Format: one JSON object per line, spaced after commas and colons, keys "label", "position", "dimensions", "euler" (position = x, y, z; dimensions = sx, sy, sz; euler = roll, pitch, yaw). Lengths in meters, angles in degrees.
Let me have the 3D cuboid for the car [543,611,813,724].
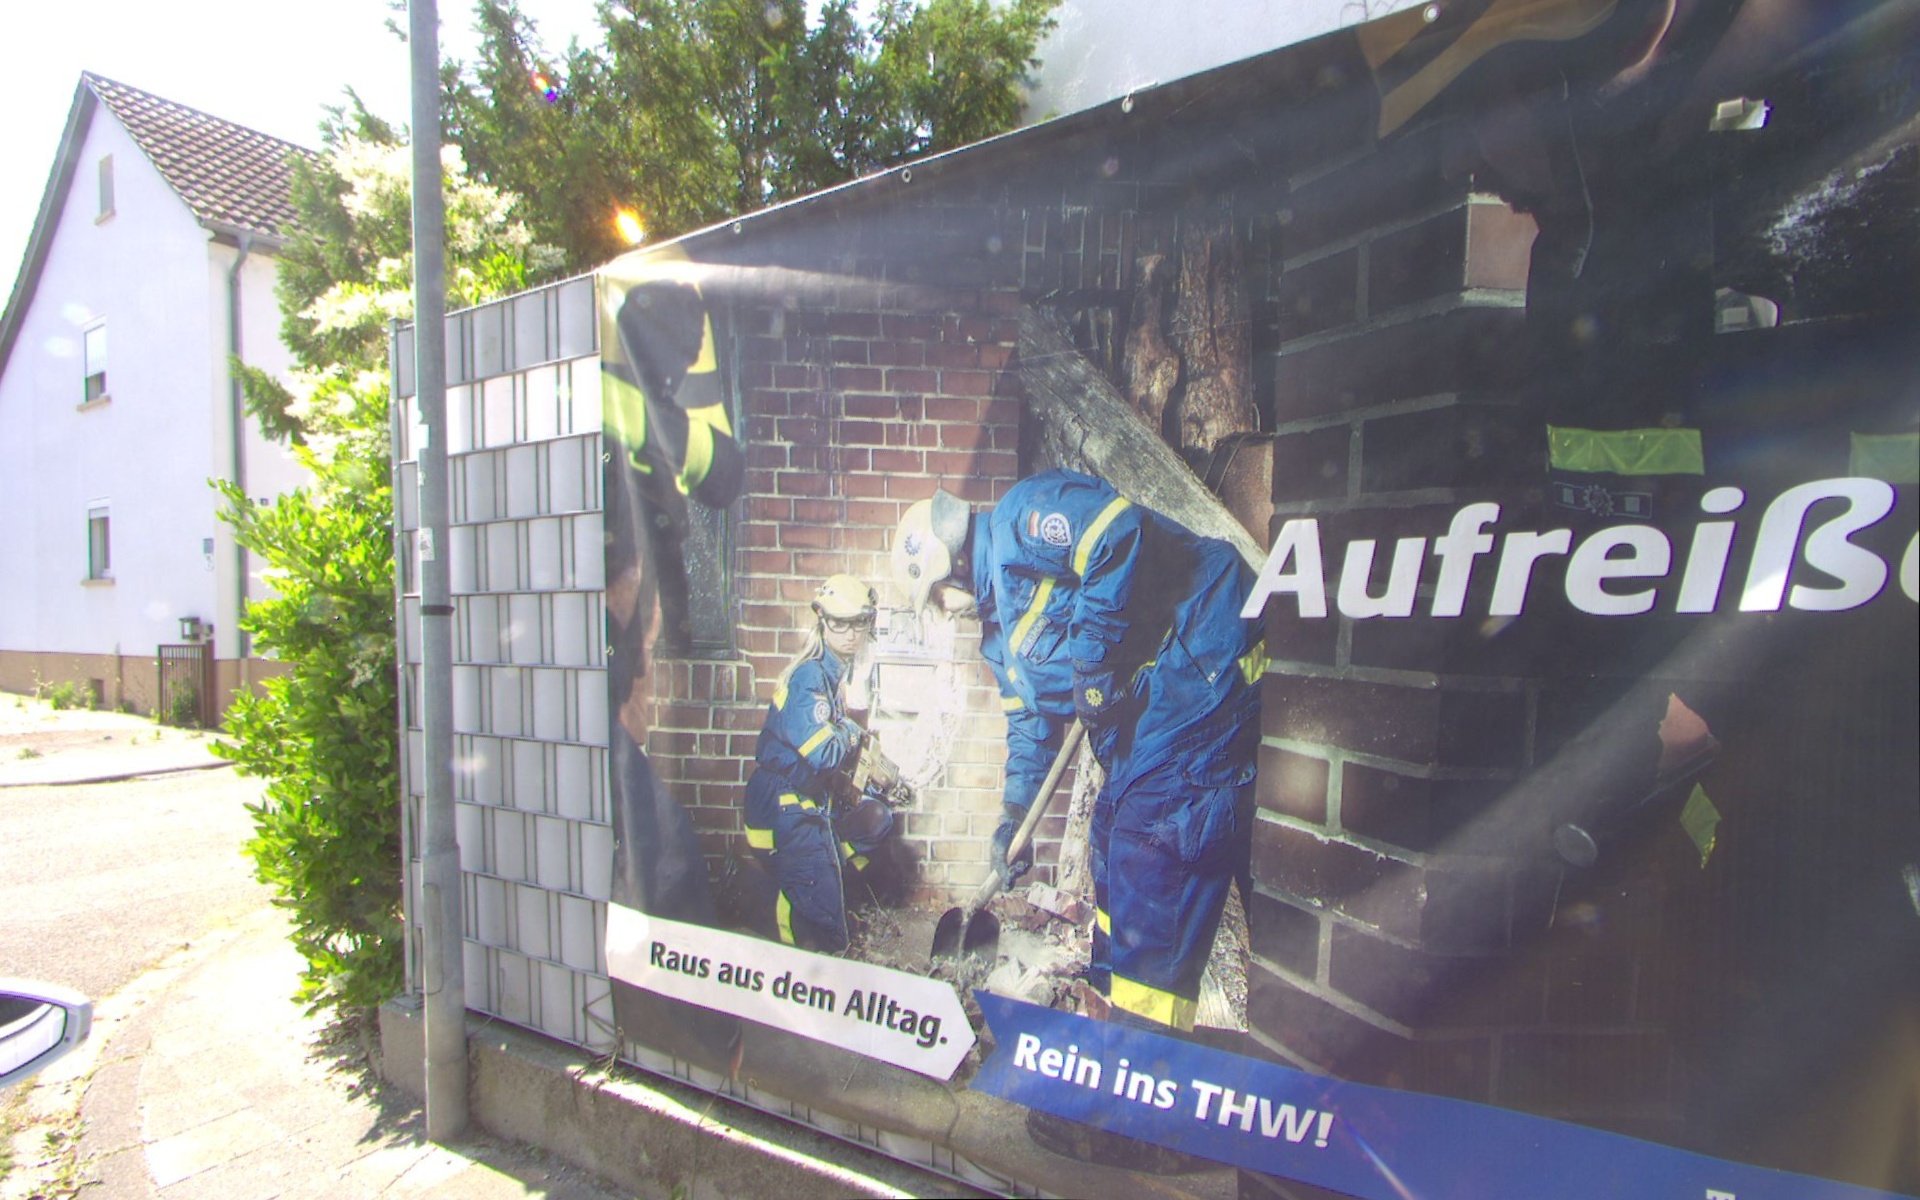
{"label": "car", "position": [-4.300, 0.949, 15.855], "dimensions": [1.771, 1.550, 3.978], "euler": [0, -1, 32]}
